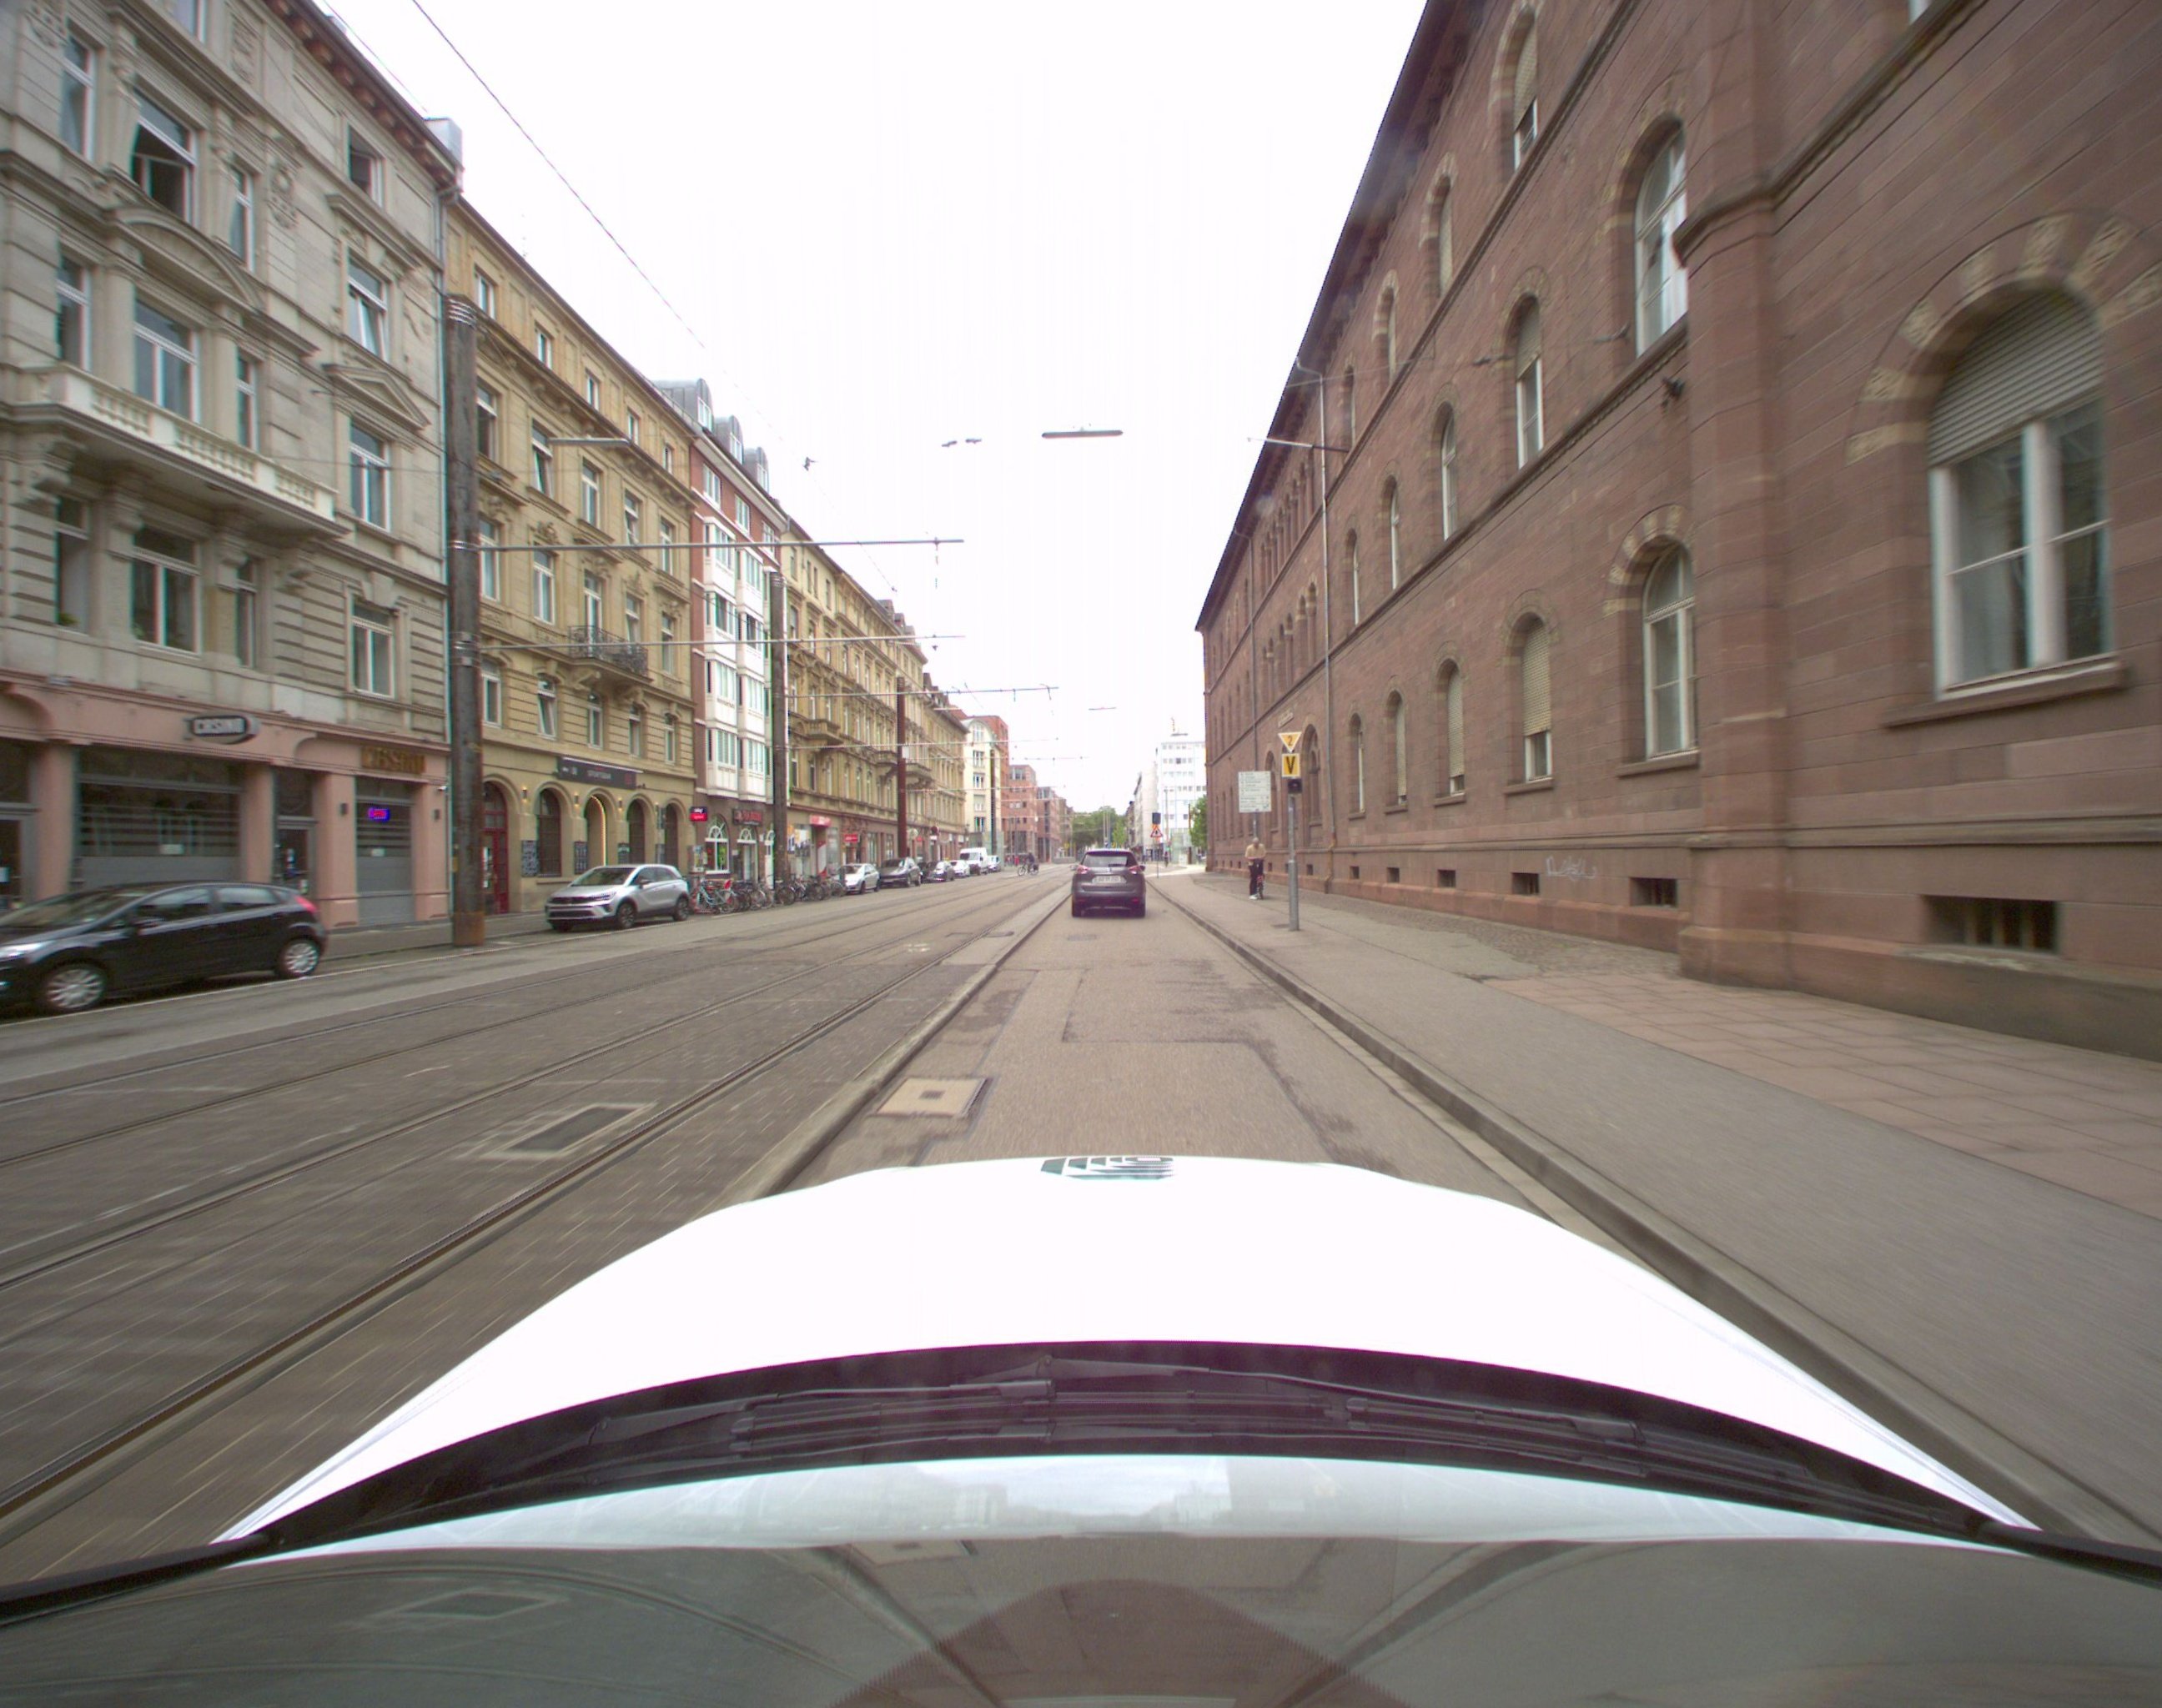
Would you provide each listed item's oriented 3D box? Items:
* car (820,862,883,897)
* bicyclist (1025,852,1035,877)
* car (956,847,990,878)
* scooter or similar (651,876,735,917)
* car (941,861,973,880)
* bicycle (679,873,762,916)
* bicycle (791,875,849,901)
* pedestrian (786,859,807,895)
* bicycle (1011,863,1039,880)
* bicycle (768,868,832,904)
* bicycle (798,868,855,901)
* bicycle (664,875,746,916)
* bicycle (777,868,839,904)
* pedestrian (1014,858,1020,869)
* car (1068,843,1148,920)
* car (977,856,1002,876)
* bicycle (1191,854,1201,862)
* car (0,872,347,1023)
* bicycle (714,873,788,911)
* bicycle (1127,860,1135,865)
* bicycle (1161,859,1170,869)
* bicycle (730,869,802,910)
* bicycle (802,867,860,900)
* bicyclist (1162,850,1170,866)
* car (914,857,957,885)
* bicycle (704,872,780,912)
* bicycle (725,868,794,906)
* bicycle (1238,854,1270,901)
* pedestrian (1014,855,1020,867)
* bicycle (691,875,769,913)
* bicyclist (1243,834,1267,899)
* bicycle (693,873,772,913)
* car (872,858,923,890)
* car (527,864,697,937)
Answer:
[{"bbox_3d":[-10.805,1.170,38.669,1.737,1.488,3.921,-2,0,1],"label":"car"},{"bbox_3d":[-3.950,0.823,62.875,0.642,1.883,1.029,0,-1,3],"label":"bicyclist"},{"bbox_3d":[-9.693,0.754,73.296,2.046,2.487,5.666,-4,-1,1],"label":"car"},{"bbox_3d":[-11.625,1.264,24.423,2.273,1.203,0.548,0,-1,2],"label":"scooter or similar"},{"bbox_3d":[-9.954,1.295,65.486,1.765,1.423,4.165,-4,-1,1],"label":"car"},{"bbox_3d":[-11.380,1.277,25.738,2.273,1.203,0.705,-3,-1,2],"label":"bicycle"},{"bbox_3d":[-11.130,1.456,34.785,2.273,1.041,0.620,-1,-1,2],"label":"bicycle"},{"bbox_3d":[-14.372,1.137,41.172,0.646,1.782,0.790,-1,-1,38],"label":"pedestrian"},{"bbox_3d":[-4.319,1.372,62.876,2.036,1.174,0.585,-3,-1,-7],"label":"bicycle"},{"bbox_3d":[-11.233,1.273,32.605,2.273,1.329,0.666,-3,-1,2],"label":"bicycle"},{"bbox_3d":[-11.034,1.321,35.340,2.273,1.329,0.521,-3,-1,2],"label":"bicycle"},{"bbox_3d":[-11.548,1.269,25.057,2.273,1.203,0.548,-1,-1,2],"label":"bicycle"},{"bbox_3d":[-11.190,1.293,33.433,2.273,1.329,0.666,-3,-1,2],"label":"bicycle"},{"bbox_3d":[-9.341,1.400,119.023,0.720,1.687,0.660,-1,-2,-9],"label":"pedestrian"},{"bbox_3d":[0.753,0.616,21.472,1.855,1.774,4.571,1,1,3],"label":"car"},{"bbox_3d":[-9.386,1.235,83.716,1.896,1.864,4.520,-3,-1,1],"label":"car"},{"bbox_3d":[15.066,0.497,106.798,0.651,0.978,1.765,-2,-1,30],"label":"bicycle"},{"bbox_3d":[-12.030,1.047,10.309,1.736,1.488,3.923,-2,0,3],"label":"car"},{"bbox_3d":[-11.548,1.326,28.533,2.273,1.203,0.666,-3,-1,2],"label":"bicycle"},{"bbox_3d":[10.244,1.677,167.564,1.690,1.065,0.437,0,-1,0],"label":"bicycle"},{"bbox_3d":[9.566,1.153,92.113,0.897,1.045,3.282,-1,-1,5],"label":"bicycle"},{"bbox_3d":[-11.509,1.286,29.786,2.273,1.329,0.666,-3,-1,2],"label":"bicycle"},{"bbox_3d":[-11.054,1.315,36.063,2.273,1.329,0.666,-3,-1,2],"label":"bicycle"},{"bbox_3d":[9.588,0.485,92.141,0.830,1.812,0.878,0,-1,4],"label":"bicyclist"},{"bbox_3d":[-9.894,1.126,55.726,1.913,1.689,5.052,-4,-1,1],"label":"car"},{"bbox_3d":[-11.574,1.302,27.819,2.273,1.203,0.666,-3,-1,2],"label":"bicycle"},{"bbox_3d":[-11.502,1.182,29.155,2.273,1.294,0.448,1,-1,2],"label":"bicycle"},{"bbox_3d":[5.040,0.656,23.809,0.443,1.276,2.227,-3,-1,2],"label":"bicycle"},{"bbox_3d":[-9.043,1.004,115.330,0.660,1.687,0.720,-1,-2,-11],"label":"pedestrian"},{"bbox_3d":[-11.362,1.286,26.362,2.273,1.203,0.540,0,-2,2],"label":"bicycle"},{"bbox_3d":[5.029,0.360,23.576,0.527,1.858,0.450,-2,-1,1],"label":"bicyclist"},{"bbox_3d":[-11.559,1.289,27.042,2.273,1.203,0.705,-3,-1,2],"label":"bicycle"},{"bbox_3d":[-10.501,1.099,46.946,1.808,1.690,5.029,-2,0,-1],"label":"car"},{"bbox_3d":[-11.689,1.092,20.685,1.737,1.533,4.227,-2,0,1],"label":"car"}]
